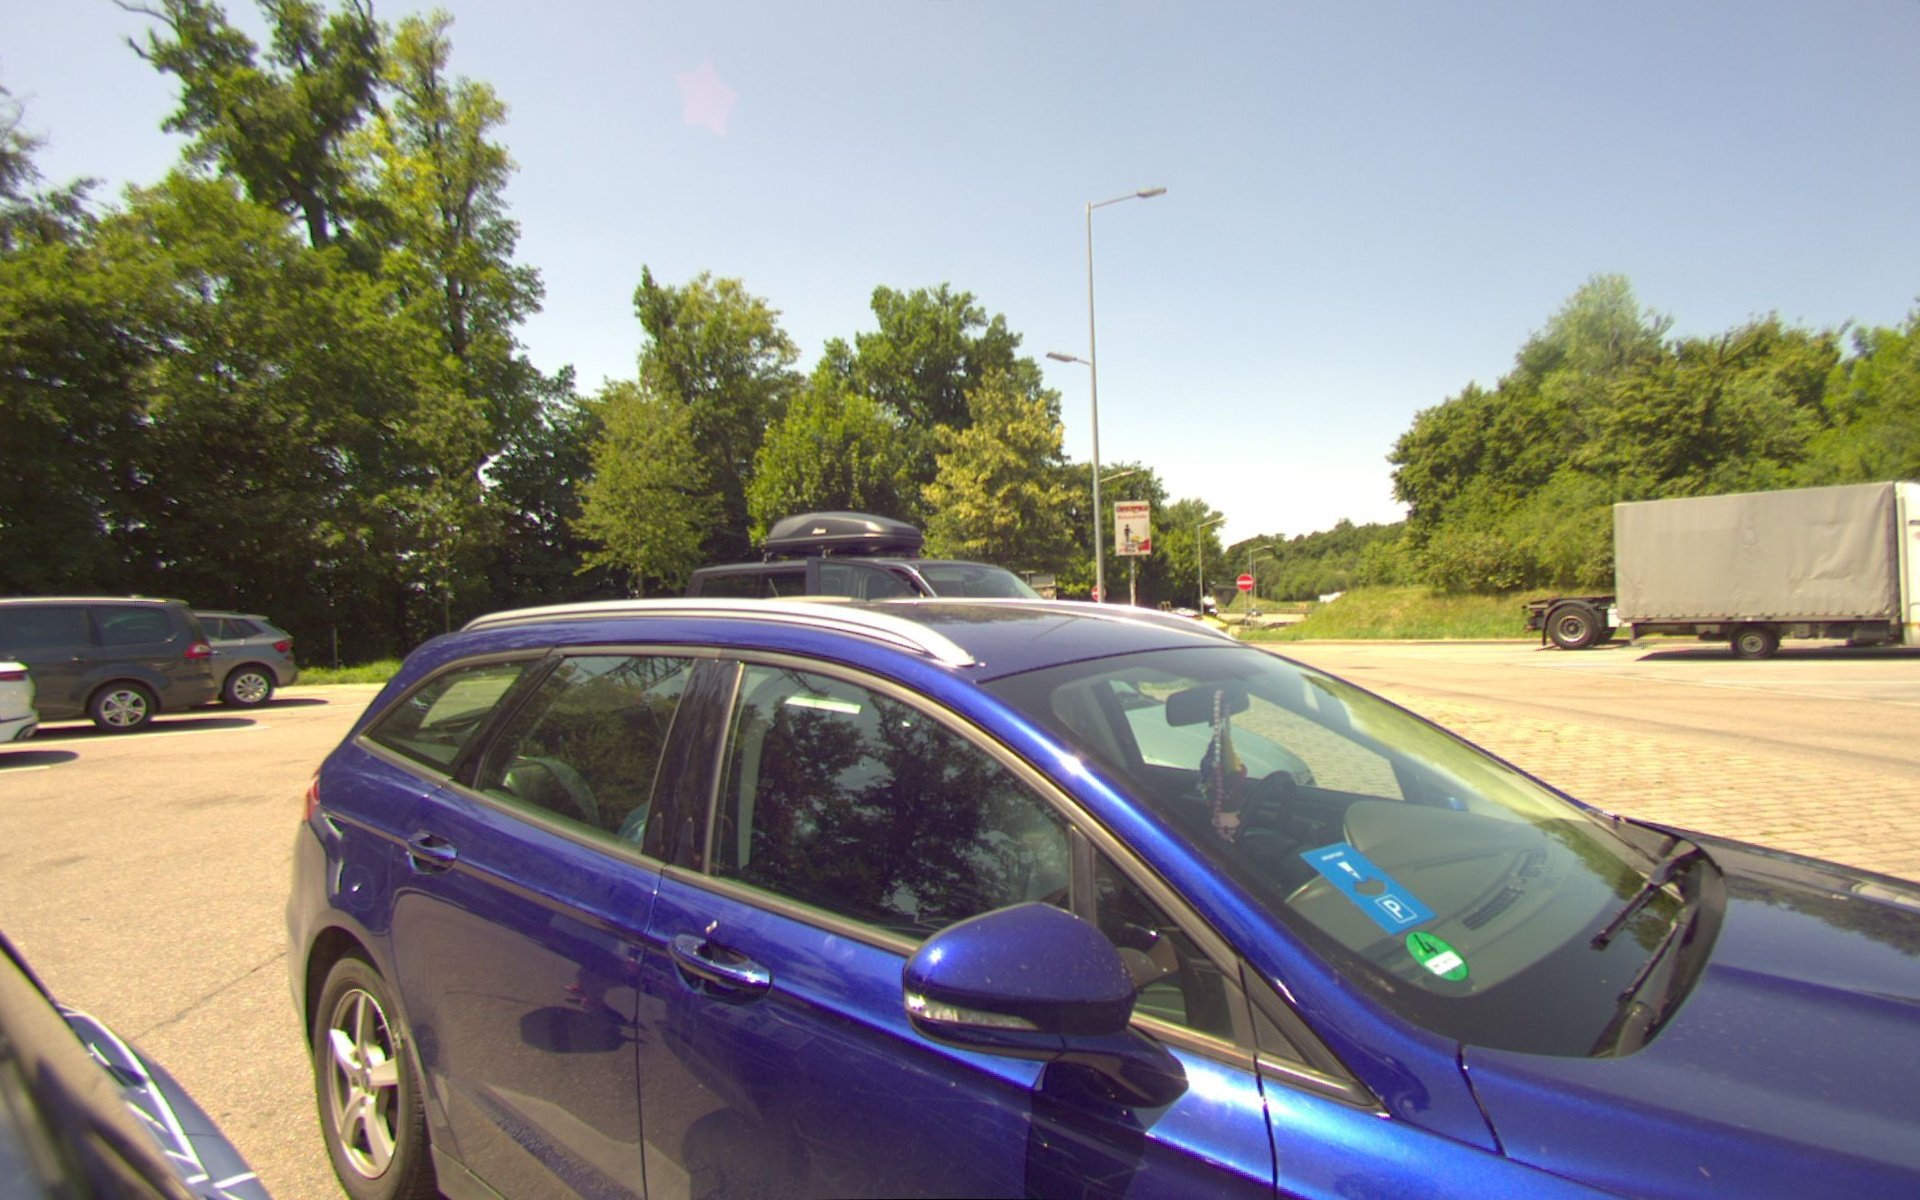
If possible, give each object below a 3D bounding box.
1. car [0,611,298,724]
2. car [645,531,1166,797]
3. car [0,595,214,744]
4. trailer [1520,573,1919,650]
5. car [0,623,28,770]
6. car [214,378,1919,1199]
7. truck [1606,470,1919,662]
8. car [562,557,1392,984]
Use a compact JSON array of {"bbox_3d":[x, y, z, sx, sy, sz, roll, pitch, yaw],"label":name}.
[{"bbox_3d":[-12.602,0.961,15.710,3.762,1.551,1.724,0,-1,-38],"label":"car"},{"bbox_3d":[-0.668,0.513,9.365,4.635,1.884,1.937,-2,0,37],"label":"car"},{"bbox_3d":[-11.663,0.828,12.629,3.762,1.737,1.724,0,-1,-38],"label":"car"},{"bbox_3d":[17.627,0.305,23.161,8.088,1.385,2.200,-4,-1,41],"label":"trailer"},{"bbox_3d":[-11.005,0.939,9.165,3.767,1.396,1.722,0,-1,-43],"label":"car"},{"bbox_3d":[0.238,0.639,2.080,4.637,1.493,1.720,-2,-1,39],"label":"car"},{"bbox_3d":[16.699,-0.606,18.939,7.337,3.235,2.502,-4,-1,41],"label":"truck"},{"bbox_3d":[-0.224,0.676,5.792,4.637,1.545,1.720,-2,0,39],"label":"car"}]
